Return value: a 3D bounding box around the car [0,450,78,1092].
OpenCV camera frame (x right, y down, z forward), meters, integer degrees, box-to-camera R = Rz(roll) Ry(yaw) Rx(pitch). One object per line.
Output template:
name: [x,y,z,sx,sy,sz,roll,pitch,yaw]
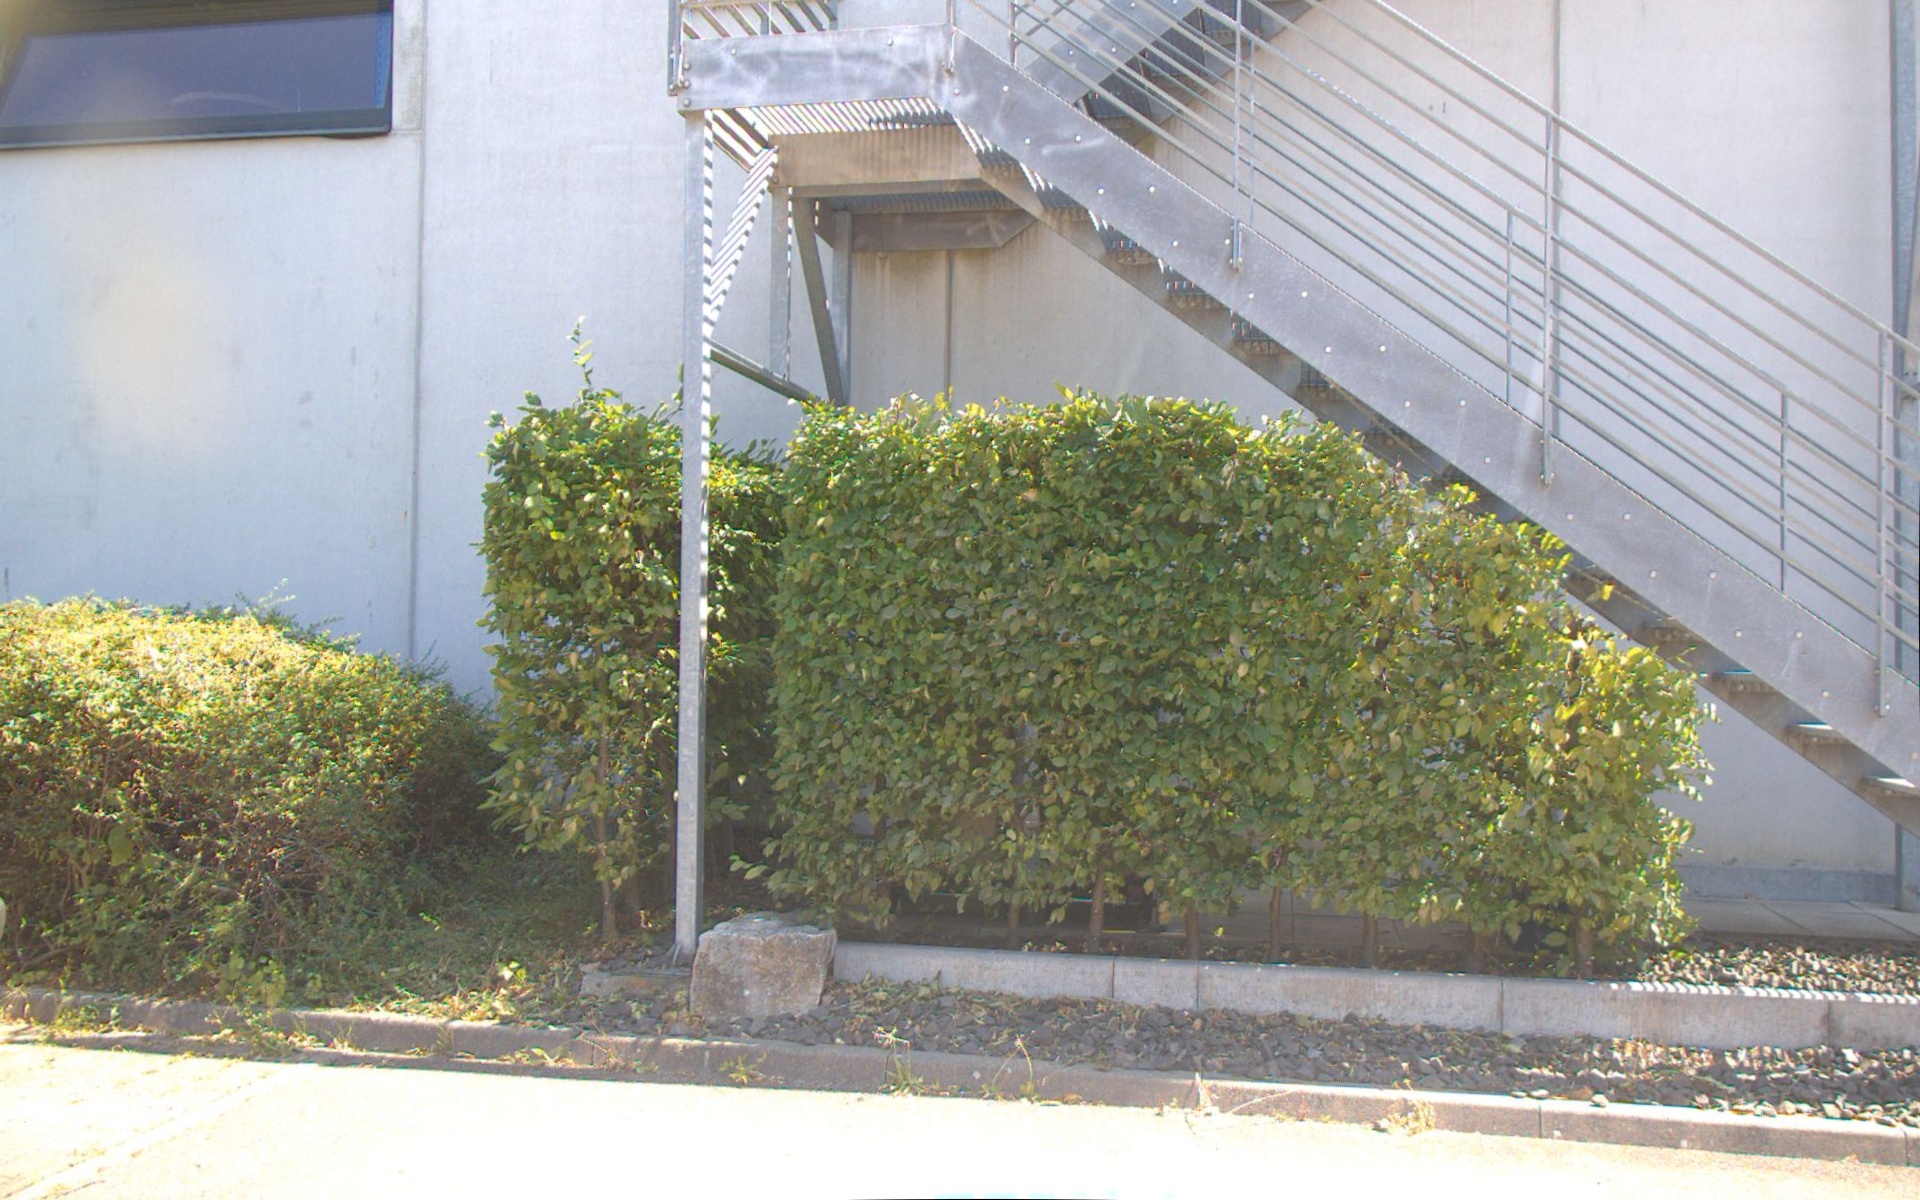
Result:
car: [-4.916,0.490,4.809,3.971,1.917,1.680,1,0,12]
